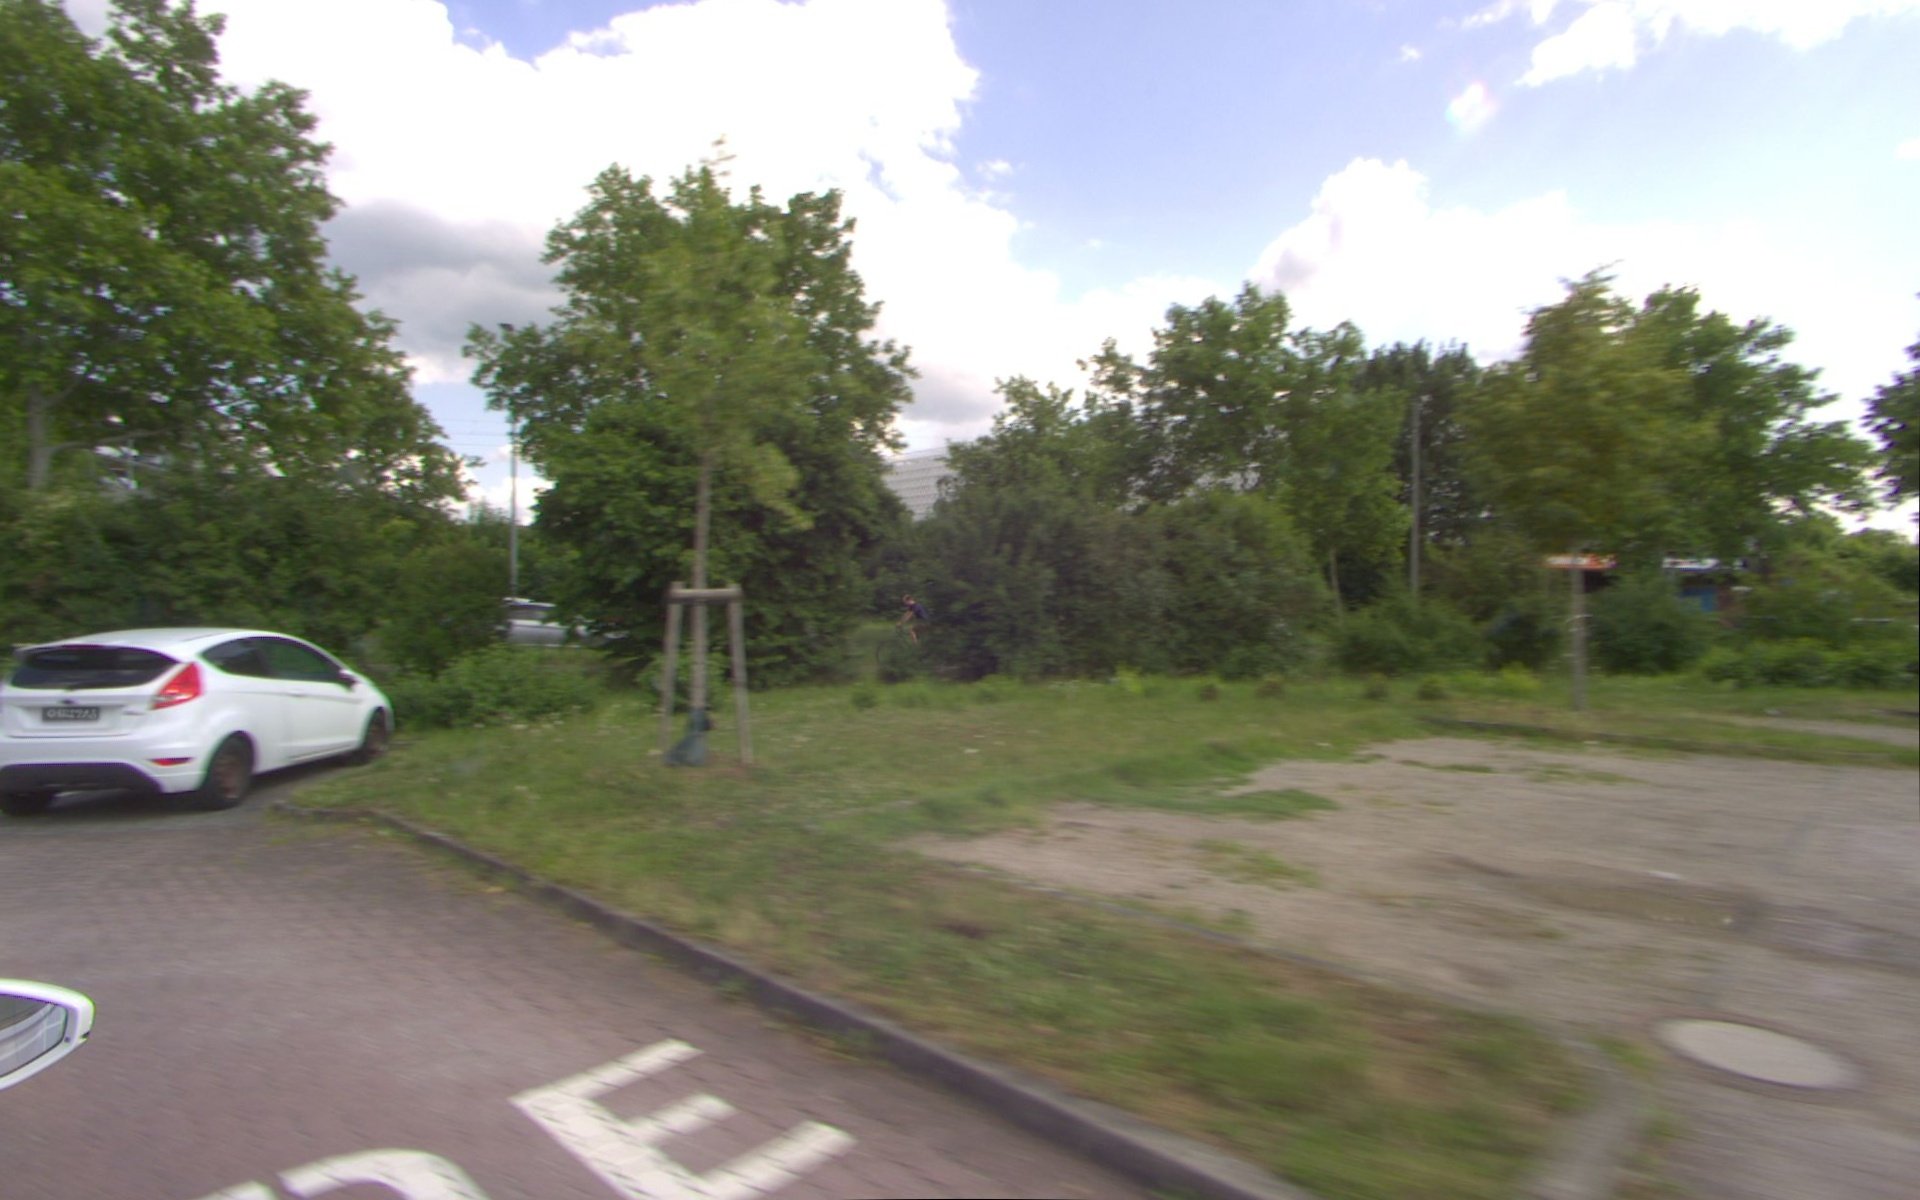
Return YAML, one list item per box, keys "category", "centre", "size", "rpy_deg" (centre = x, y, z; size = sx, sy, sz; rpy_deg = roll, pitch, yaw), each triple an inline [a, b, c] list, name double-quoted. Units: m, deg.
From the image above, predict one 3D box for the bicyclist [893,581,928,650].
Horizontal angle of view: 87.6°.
- category: "bicyclist"
  centre: [-1.192, 0.381, 23.832]
  size: [0.748, 1.612, 0.636]
  rpy_deg: [0, -2, -11]

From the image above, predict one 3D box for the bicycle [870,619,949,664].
- category: "bicycle"
  centre: [-1.204, 0.981, 23.874]
  size: [1.836, 1.050, 0.527]
  rpy_deg: [0, -2, -11]

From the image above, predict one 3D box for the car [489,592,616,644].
- category: "car"
  centre: [-14.757, 0.644, 36.483]
  size: [3.925, 1.832, 1.998]
  rpy_deg: [0, 0, -10]

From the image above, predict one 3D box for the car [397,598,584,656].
- category: "car"
  centre: [-13.509, 0.768, 29.090]
  size: [4.657, 1.610, 1.745]
  rpy_deg: [1, 0, -15]

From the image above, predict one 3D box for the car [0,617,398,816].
- category: "car"
  centre: [-6.842, 0.896, 9.216]
  size: [1.638, 1.430, 3.556]
  rpy_deg: [0, 0, -6]

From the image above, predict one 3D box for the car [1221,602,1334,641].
- category: "car"
  centre: [13.208, 0.886, 41.757]
  size: [4.103, 1.569, 1.850]
  rpy_deg: [0, -1, -12]
